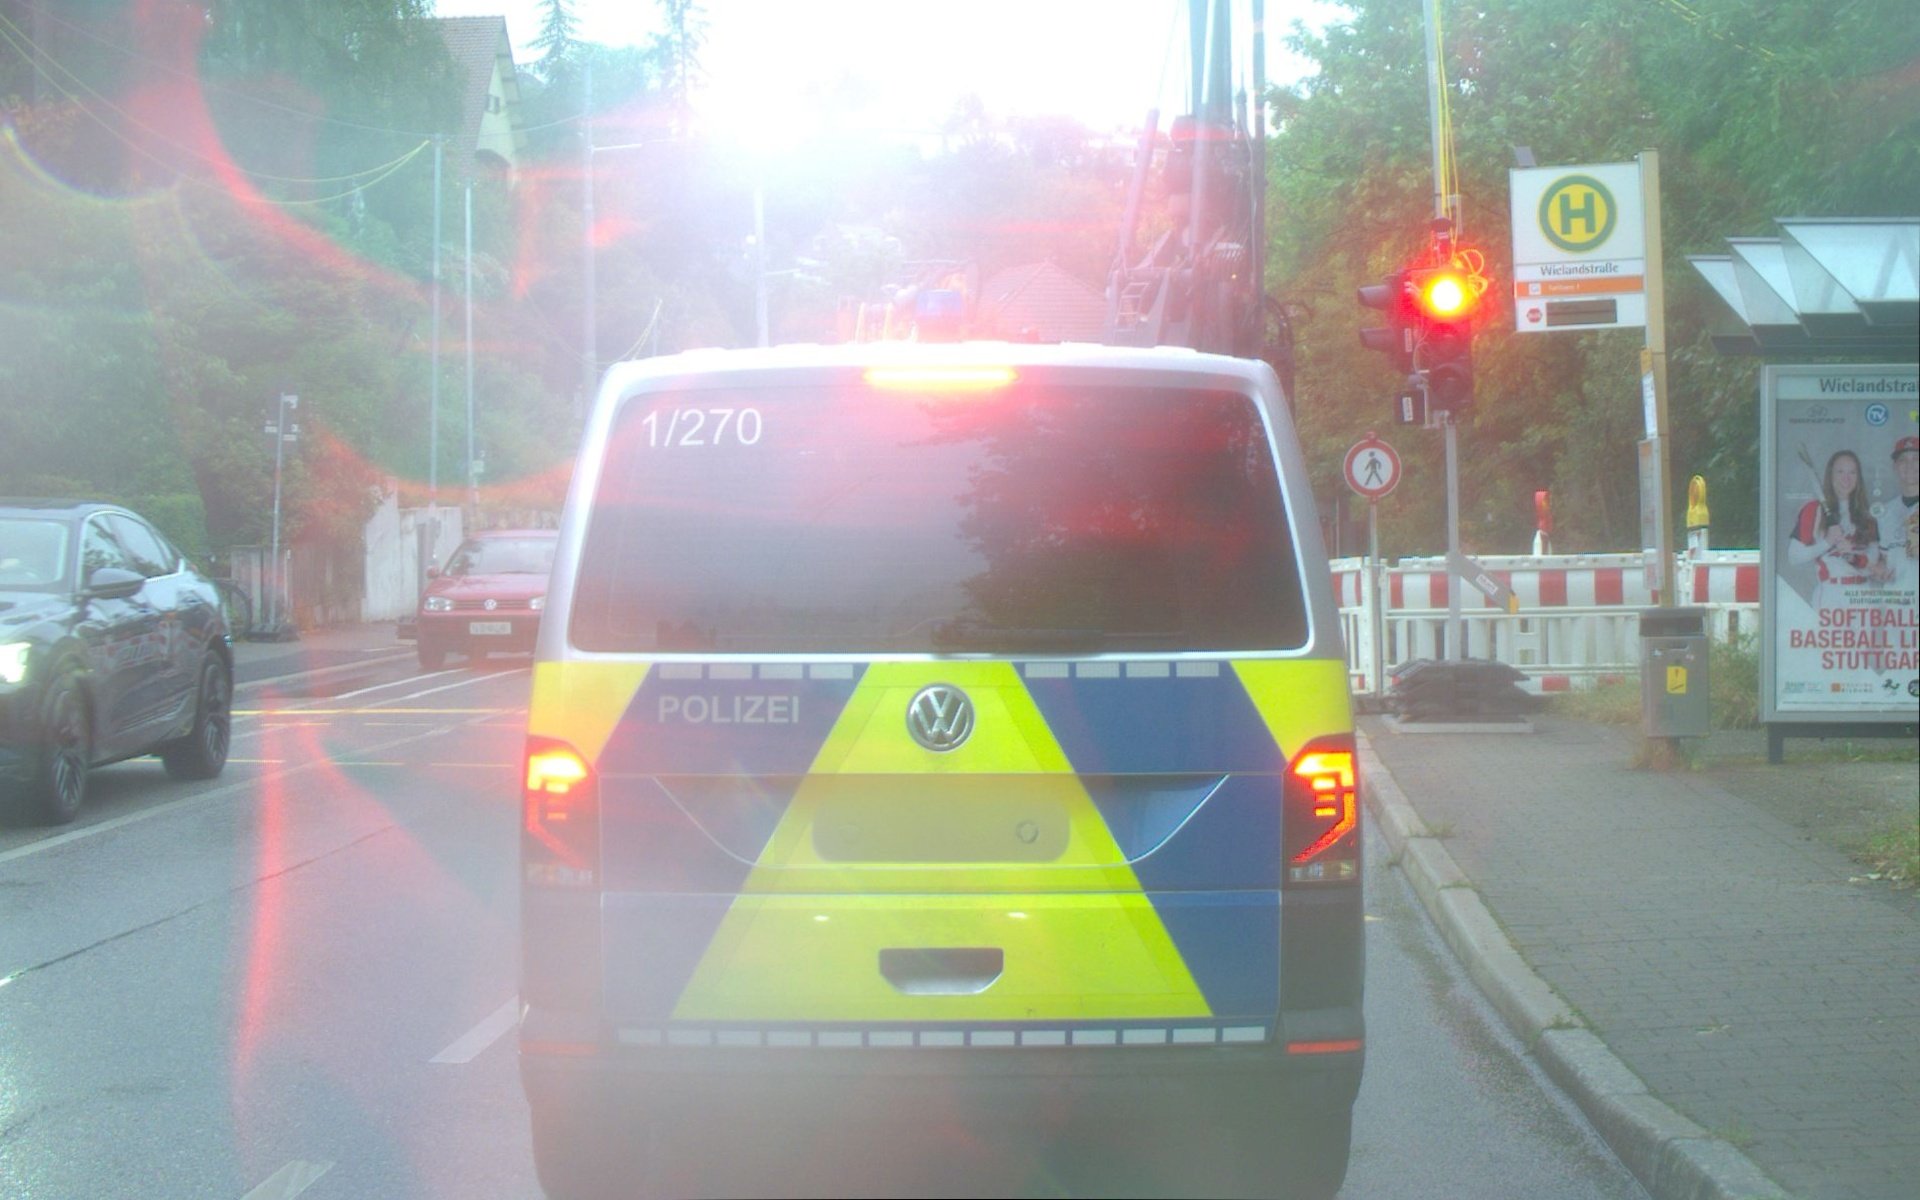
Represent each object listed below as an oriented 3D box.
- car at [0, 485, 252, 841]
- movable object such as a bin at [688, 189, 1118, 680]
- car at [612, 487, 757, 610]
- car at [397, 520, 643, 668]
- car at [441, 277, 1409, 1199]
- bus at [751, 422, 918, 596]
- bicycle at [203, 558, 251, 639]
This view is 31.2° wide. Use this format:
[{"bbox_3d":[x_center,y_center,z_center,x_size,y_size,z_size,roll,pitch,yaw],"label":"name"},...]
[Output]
[{"bbox_3d":[-5.261,0.246,18.437,1.993,1.668,4.688,1,1,-1],"label":"car"},{"bbox_3d":[-0.420,-1.465,31.616,2.832,4.163,4.378,1,1,15],"label":"movable object such as a bin"},{"bbox_3d":[-4.125,-0.804,52.088,1.979,1.742,4.554,1,1,-2],"label":"car"},{"bbox_3d":[-4.613,-0.111,36.560,1.764,1.458,3.885,1,1,5],"label":"car"},{"bbox_3d":[-0.094,0.355,8.817,1.893,2.043,4.000,1,1,-1],"label":"car"},{"bbox_3d":[-2.763,-2.078,79.645,2.841,3.705,12.005,1,1,3],"label":"bus"},{"bbox_3d":[-8.441,-0.028,39.578,0.462,0.894,1.634,0,1,-15],"label":"bicycle"}]
